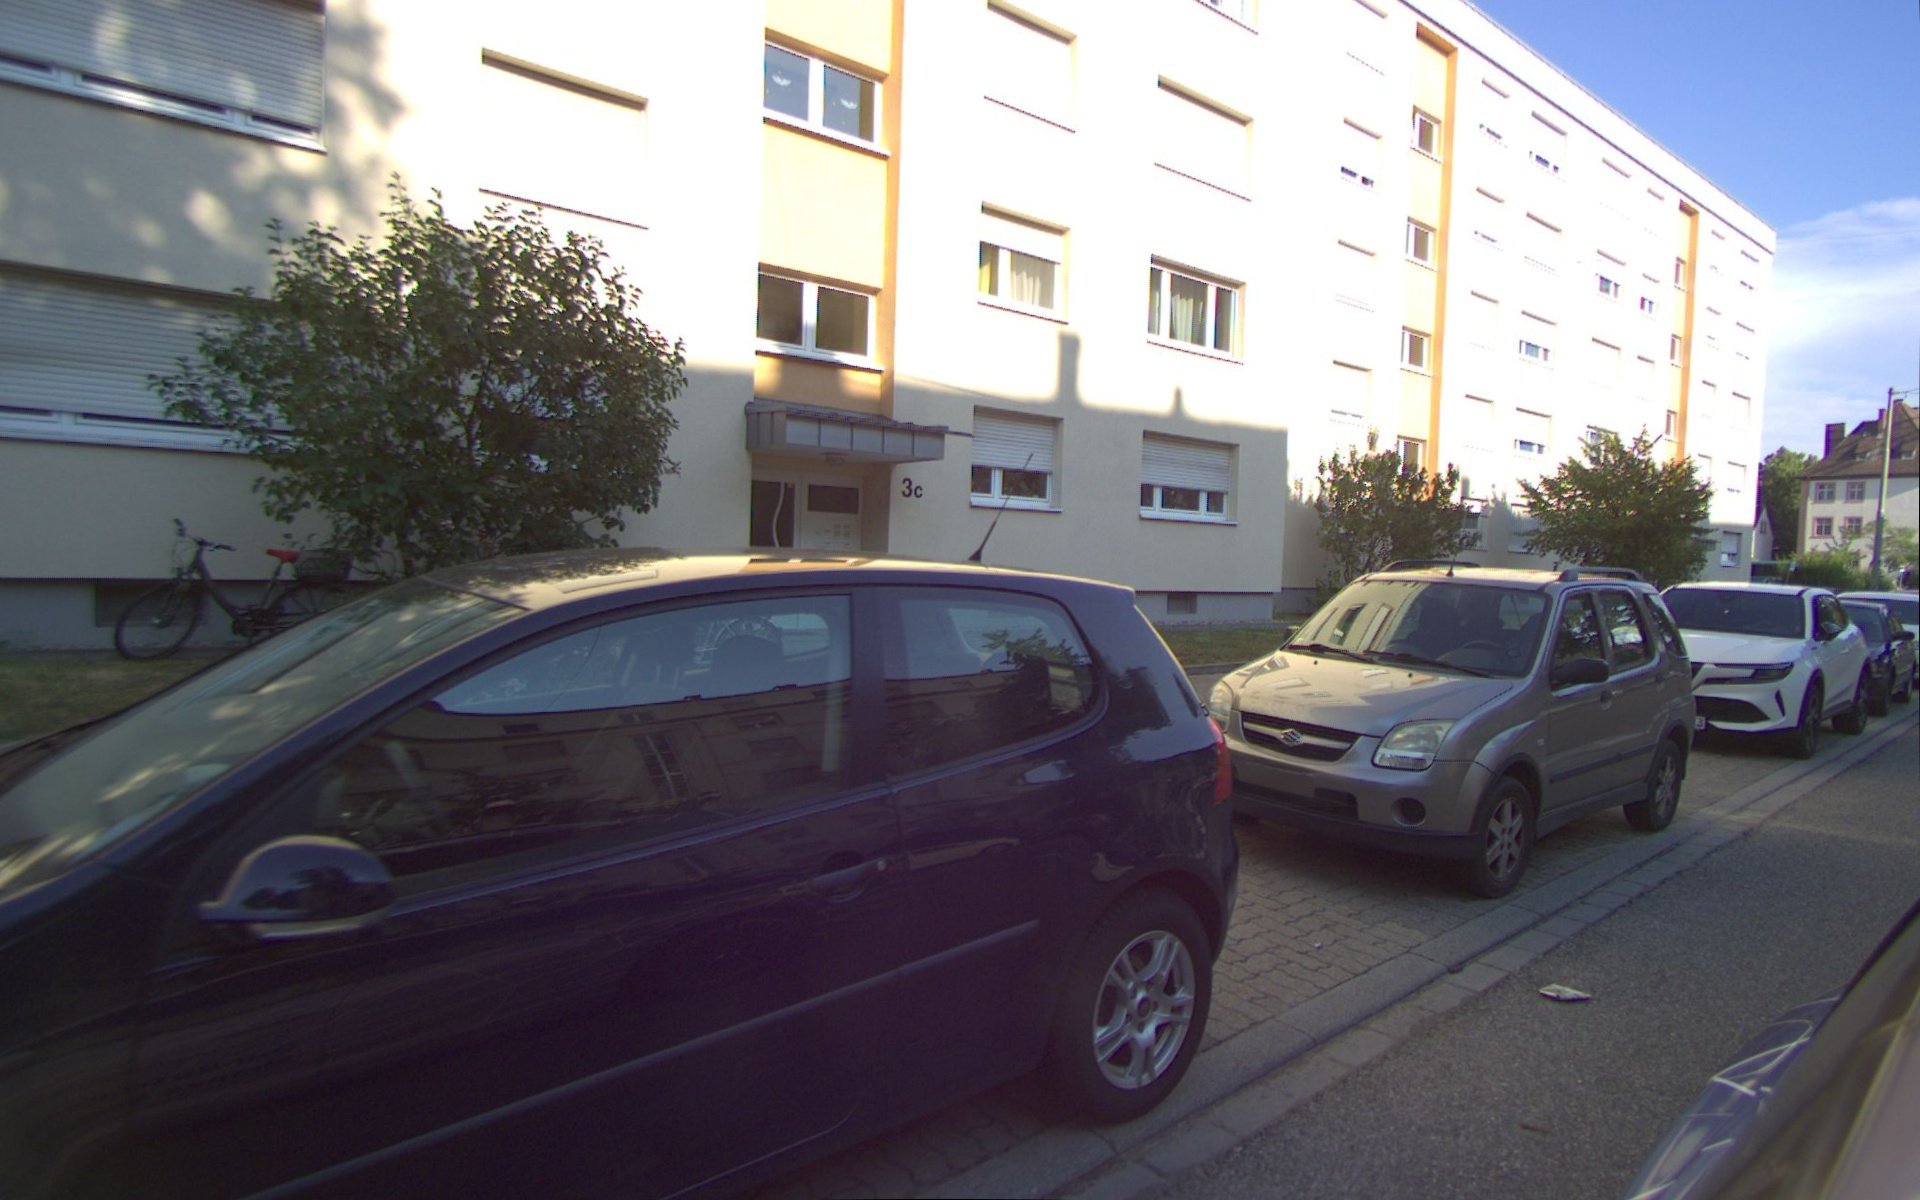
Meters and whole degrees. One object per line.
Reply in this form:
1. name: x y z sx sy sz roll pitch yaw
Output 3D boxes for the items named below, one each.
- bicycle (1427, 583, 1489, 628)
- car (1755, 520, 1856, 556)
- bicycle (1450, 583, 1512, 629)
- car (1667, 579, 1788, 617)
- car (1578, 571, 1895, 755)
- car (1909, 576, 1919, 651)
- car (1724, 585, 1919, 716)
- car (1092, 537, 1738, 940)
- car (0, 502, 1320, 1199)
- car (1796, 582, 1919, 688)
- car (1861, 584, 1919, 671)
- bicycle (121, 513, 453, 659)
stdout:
1. bicycle: 11.104 0.107 22.528 1.757 0.953 0.439 -1 1 -35
2. car: 46.823 -3.414 56.093 1.964 1.816 3.996 -1 1 -39
3. bicycle: 11.402 0.113 22.124 1.757 0.953 0.439 -1 1 -35
4. car: 38.243 -0.146 50.522 1.700 1.621 4.492 -1 4 -37
5. car: 8.037 0.463 10.354 3.932 1.460 1.876 -2 4 -42
6. car: 24.137 0.307 24.051 4.565 1.698 1.776 -2 4 -41
7. car: 11.849 0.546 13.609 4.238 1.456 1.664 -2 1 -41
8. car: 2.963 0.476 6.183 4.204 1.625 1.966 -1 3 -40
9. car: -1.020 0.699 2.522 3.908 1.793 1.842 -1 5 -40
10. car: 15.661 0.505 17.001 3.930 1.471 1.776 -1 5 -41
11. car: 19.933 0.502 20.669 3.930 1.637 1.775 -1 1 -41
12. bicycle: -5.771 -0.137 8.834 2.350 1.126 0.495 -1 6 -37
